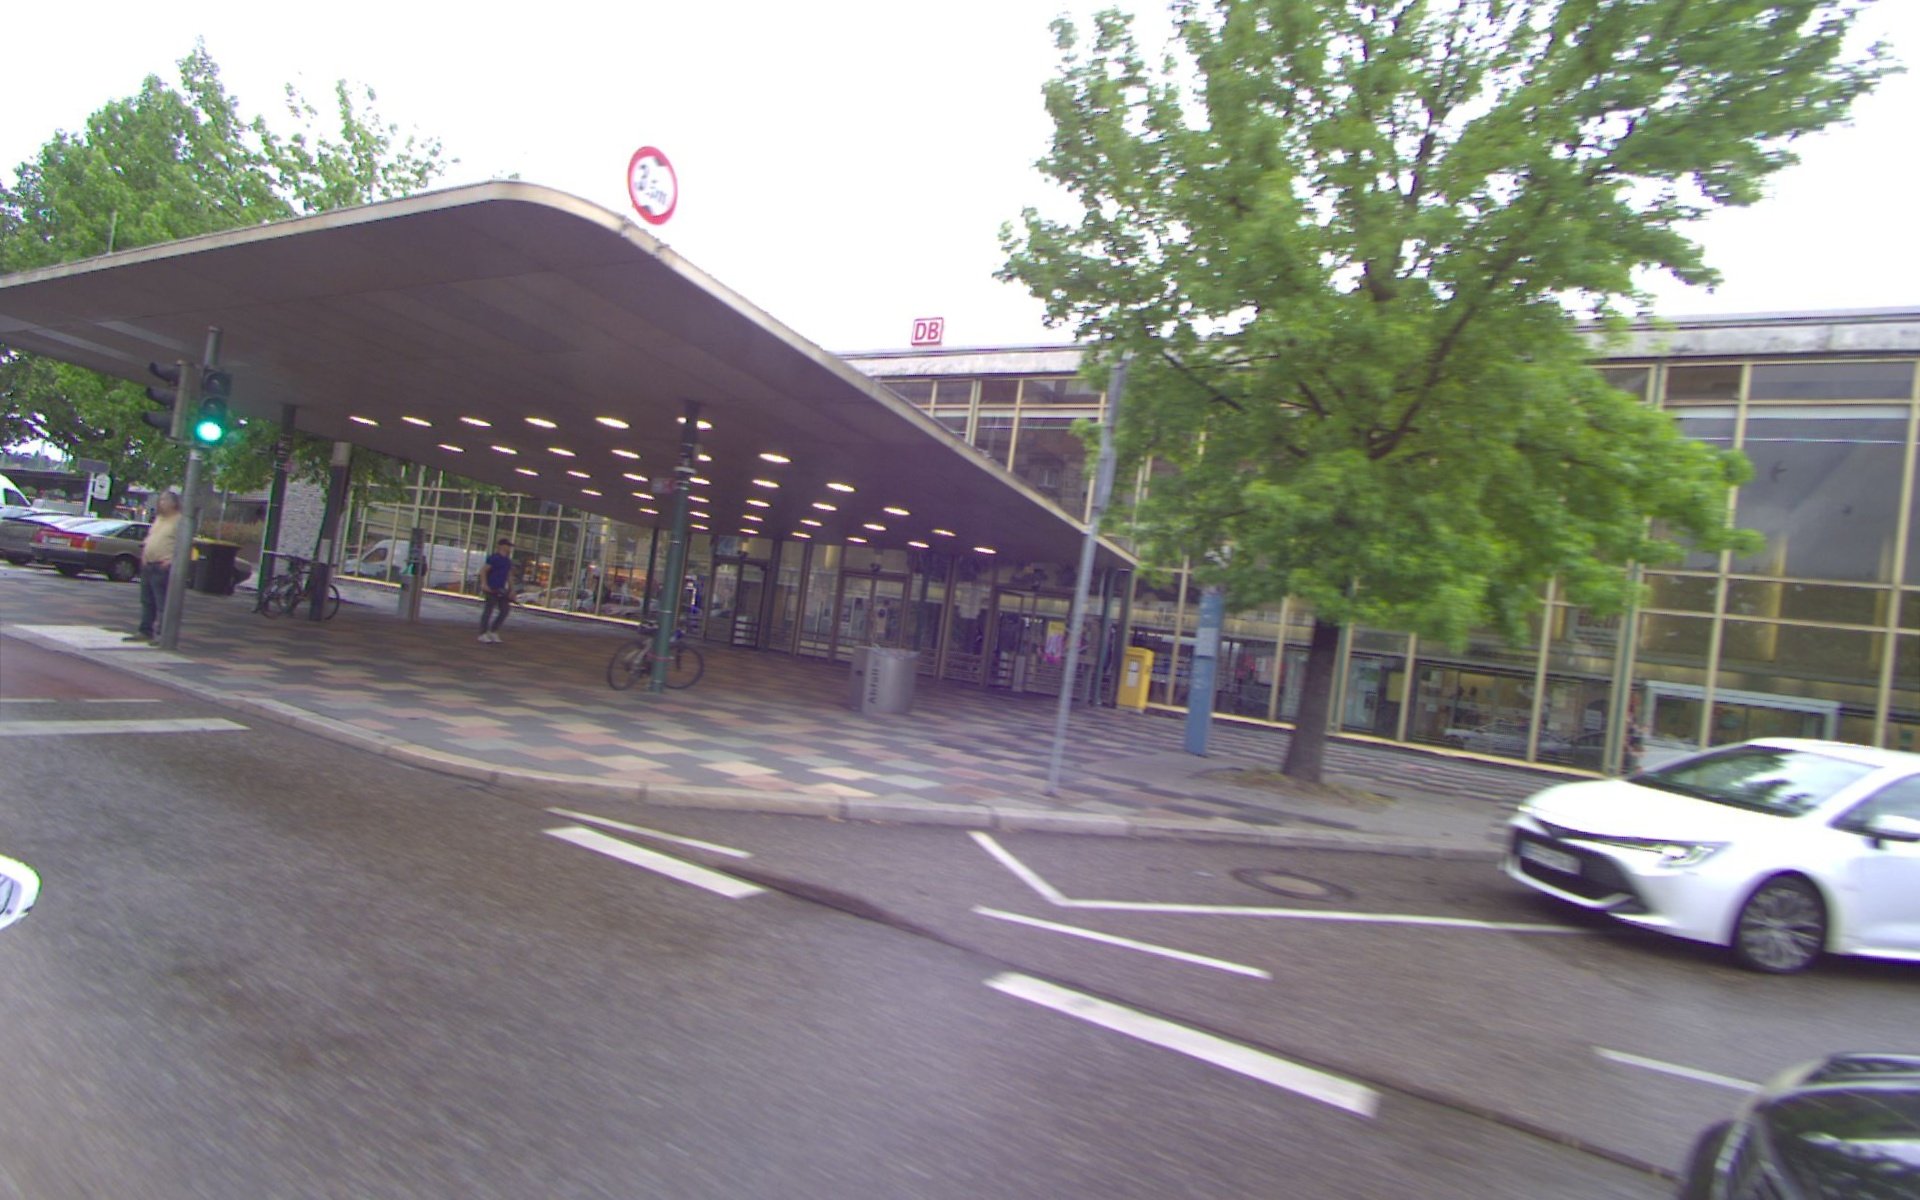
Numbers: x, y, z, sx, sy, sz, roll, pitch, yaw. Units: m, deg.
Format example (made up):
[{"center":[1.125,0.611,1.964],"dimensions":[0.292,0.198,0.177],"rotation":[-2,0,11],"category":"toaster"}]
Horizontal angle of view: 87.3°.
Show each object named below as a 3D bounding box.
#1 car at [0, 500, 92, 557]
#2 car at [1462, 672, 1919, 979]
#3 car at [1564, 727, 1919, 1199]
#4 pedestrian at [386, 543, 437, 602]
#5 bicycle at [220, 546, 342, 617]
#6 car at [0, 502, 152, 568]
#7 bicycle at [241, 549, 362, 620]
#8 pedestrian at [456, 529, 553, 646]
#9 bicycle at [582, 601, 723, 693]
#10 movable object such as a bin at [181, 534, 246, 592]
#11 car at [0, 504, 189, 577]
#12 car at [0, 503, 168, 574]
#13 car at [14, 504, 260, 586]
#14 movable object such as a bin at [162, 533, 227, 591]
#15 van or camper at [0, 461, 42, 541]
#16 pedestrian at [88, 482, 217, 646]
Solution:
[{"center":[-29.050,-2.289,30.421],"dimensions":[1.829,1.460,4.003],"rotation":[6,-1,6],"category":"car"},{"center":[6.305,1.595,7.070],"dimensions":[4.694,1.564,1.762],"rotation":[7,-1,-8],"category":"car"},{"center":[3.201,1.236,0.910],"dimensions":[4.375,1.484,1.697],"rotation":[6,0,29],"category":"car"},{"center":[-15.899,-0.782,29.181],"dimensions":[0.799,1.578,0.867],"rotation":[6,1,25],"category":"pedestrian"},{"center":[-11.396,-0.289,16.968],"dimensions":[0.412,1.069,1.834],"rotation":[6,0,14],"category":"bicycle"},{"center":[-26.485,-1.909,29.607],"dimensions":[1.829,1.460,4.003],"rotation":[6,-1,6],"category":"car"},{"center":[-10.968,-0.224,16.830],"dimensions":[0.412,1.069,1.834],"rotation":[6,0,14],"category":"bicycle"},{"center":[-7.834,-0.206,17.295],"dimensions":[1.170,1.858,0.857],"rotation":[6,0,32],"category":"pedestrian"},{"center":[-3.883,0.609,12.840],"dimensions":[0.413,1.069,1.829],"rotation":[7,1,31],"category":"bicycle"},{"center":[-15.393,-0.753,20.752],"dimensions":[0.735,1.081,0.753],"rotation":[6,1,23],"category":"movable object such as a bin"},{"center":[-22.186,-1.468,25.614],"dimensions":[1.830,1.375,4.002],"rotation":[6,-1,2],"category":"car"},{"center":[-24.310,-1.673,27.493],"dimensions":[1.829,1.460,4.003],"rotation":[6,-1,6],"category":"car"},{"center":[-19.148,-1.220,23.685],"dimensions":[1.805,1.341,4.203],"rotation":[6,-1,12],"category":"car"},{"center":[-16.273,-0.799,21.401],"dimensions":[0.735,1.109,0.753],"rotation":[6,1,20],"category":"movable object such as a bin"},{"center":[-35.787,-3.753,34.752],"dimensions":[2.157,2.797,5.967],"rotation":[6,0,5],"category":"van or camper"},{"center":[-9.341,-0.403,11.647],"dimensions":[0.821,1.768,0.748],"rotation":[6,0,24],"category":"pedestrian"}]
